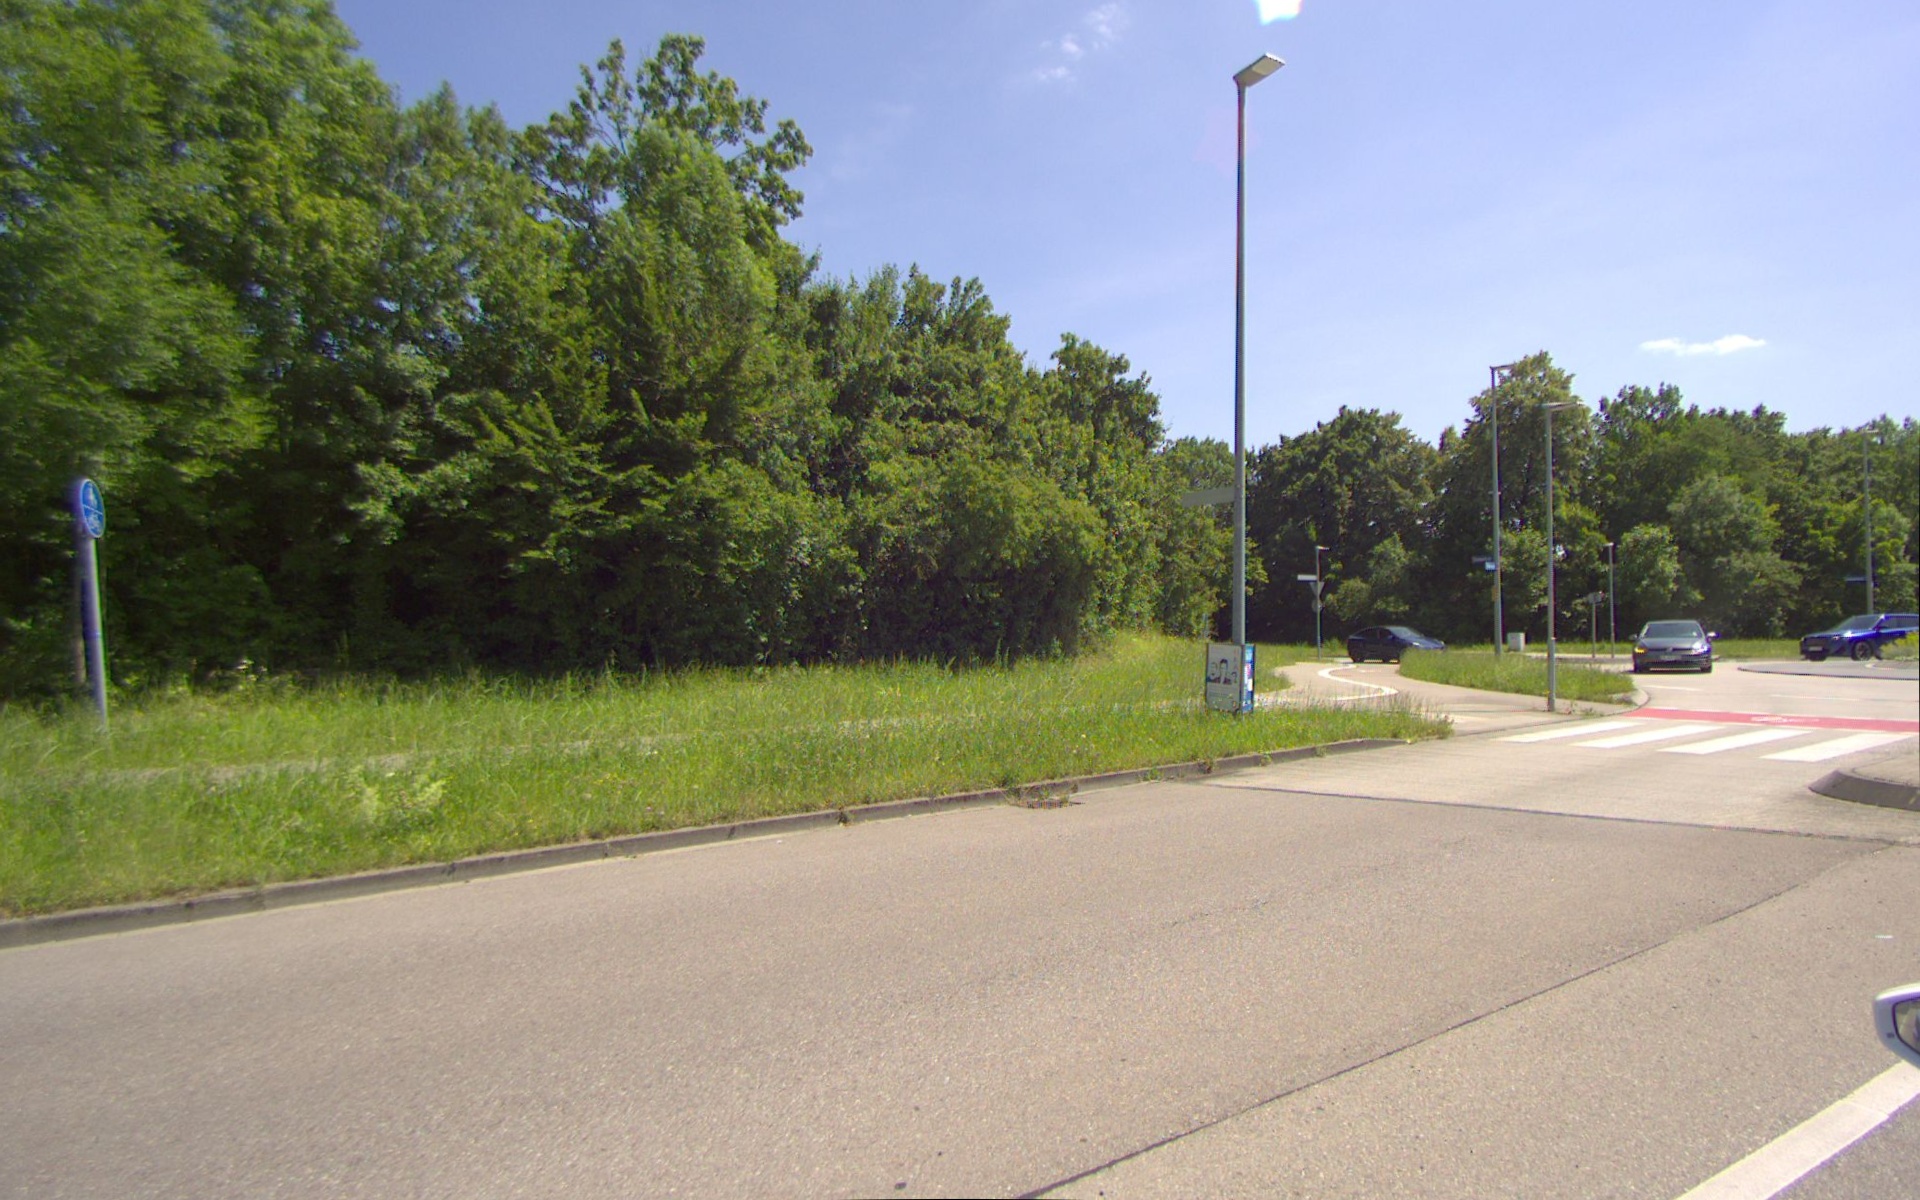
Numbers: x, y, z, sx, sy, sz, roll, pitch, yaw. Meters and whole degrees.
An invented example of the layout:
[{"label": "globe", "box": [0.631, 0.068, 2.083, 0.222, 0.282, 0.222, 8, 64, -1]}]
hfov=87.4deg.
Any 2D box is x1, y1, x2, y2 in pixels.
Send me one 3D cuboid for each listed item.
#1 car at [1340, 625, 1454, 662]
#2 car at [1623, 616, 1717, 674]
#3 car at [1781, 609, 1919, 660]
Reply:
[{"label": "car", "box": [19.009, 1.867, 43.899, 1.931, 1.514, 4.538, 1, -1, -21]}, {"label": "car", "box": [19.983, 1.242, 28.300, 1.968, 1.498, 4.274, -3, -3, 35]}, {"label": "car", "box": [31.746, 1.182, 35.204, 4.237, 1.617, 2.000, -2, -1, 0]}]
